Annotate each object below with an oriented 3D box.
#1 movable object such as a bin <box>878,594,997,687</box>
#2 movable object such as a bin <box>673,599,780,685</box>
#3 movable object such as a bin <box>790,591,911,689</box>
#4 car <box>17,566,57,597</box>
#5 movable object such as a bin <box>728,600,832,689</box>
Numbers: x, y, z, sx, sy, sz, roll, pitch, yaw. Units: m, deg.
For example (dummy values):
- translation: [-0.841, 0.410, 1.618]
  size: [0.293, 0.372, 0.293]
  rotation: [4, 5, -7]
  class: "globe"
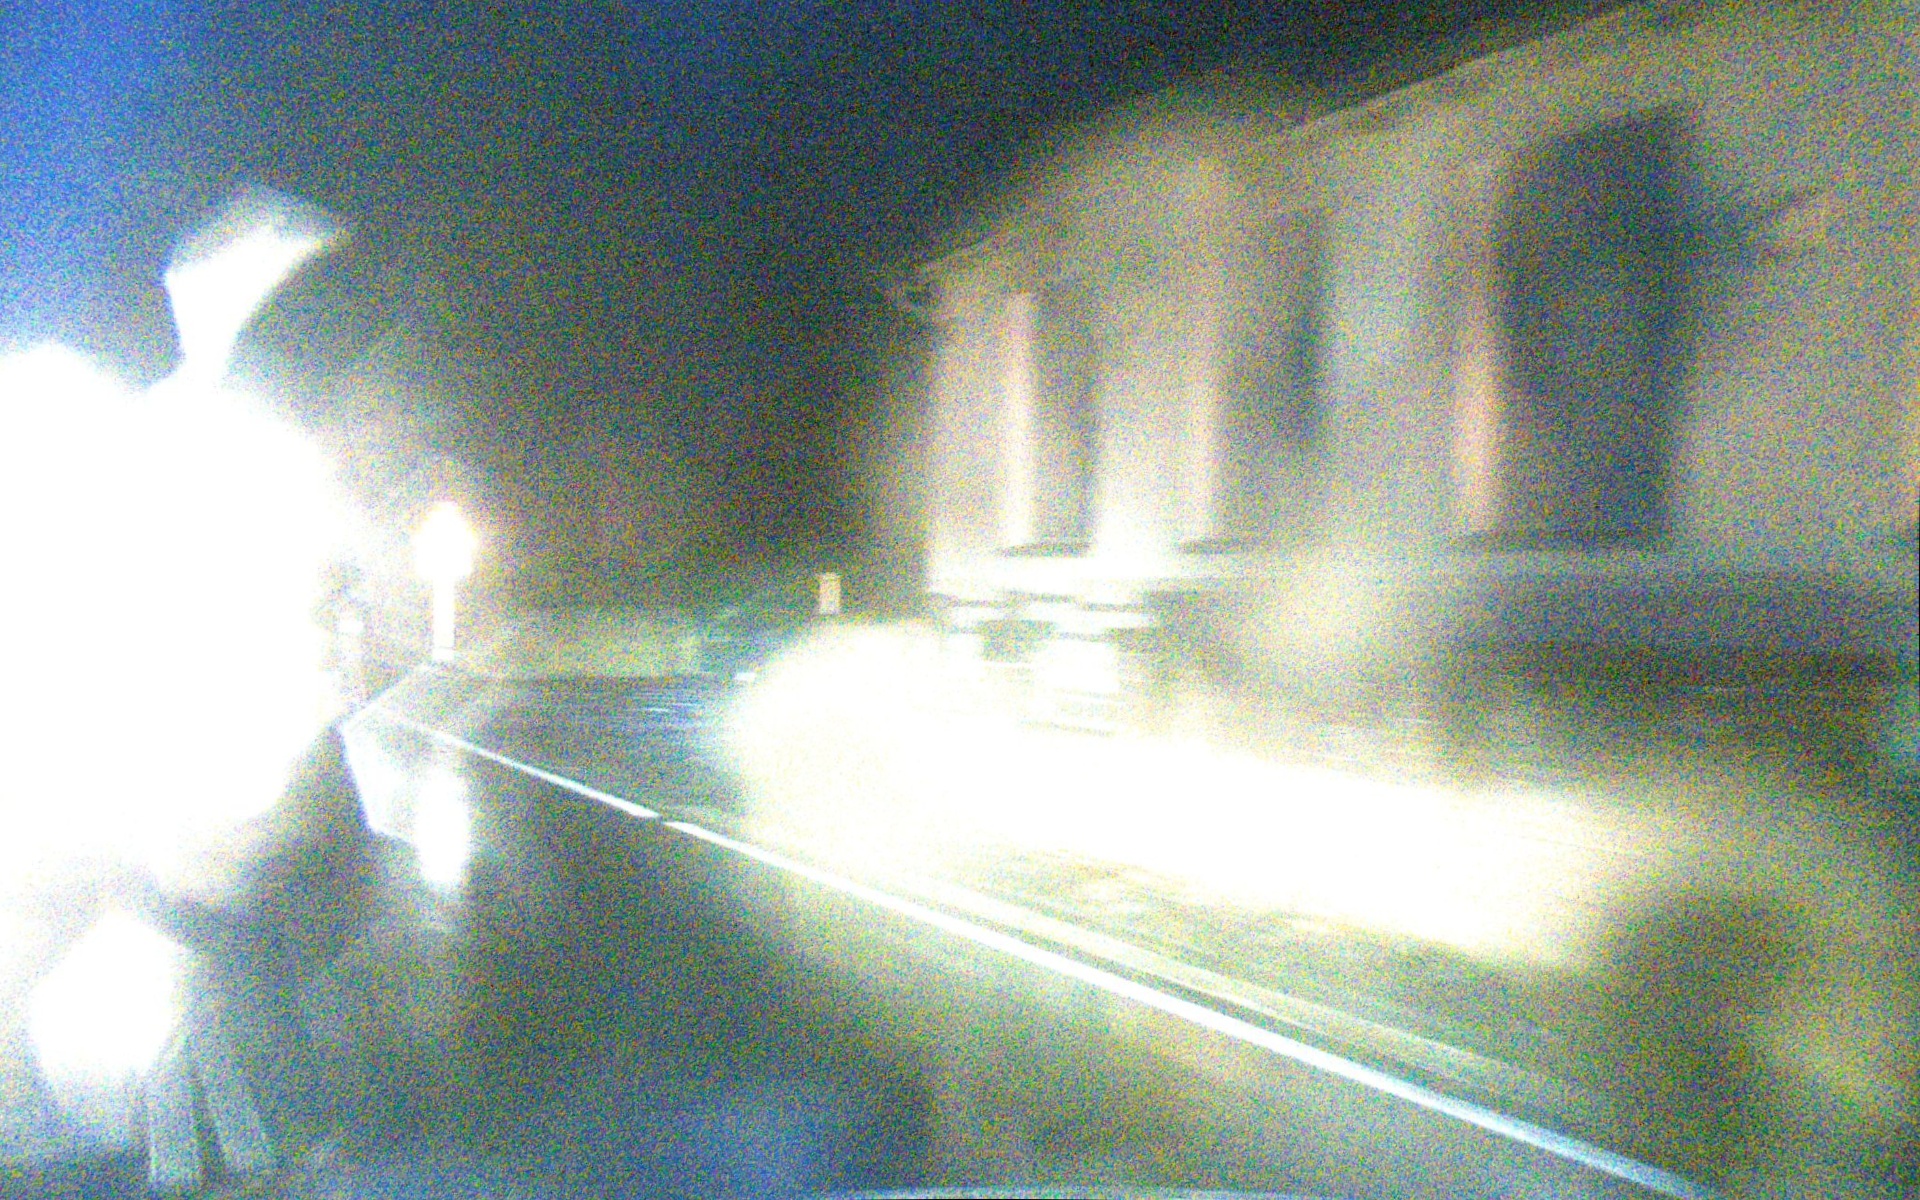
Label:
- translation: [-0.337, 0.608, 24.848]
  size: [1.290, 1.321, 1.248]
  rotation: [-2, 0, 32]
  class: "movable object such as a bin"
- translation: [-3.822, 0.675, 27.173]
  size: [1.292, 1.332, 1.176]
  rotation: [0, 2, 24]
  class: "movable object such as a bin"
- translation: [-1.693, 0.617, 25.600]
  size: [1.362, 1.438, 1.248]
  rotation: [-2, 0, 32]
  class: "movable object such as a bin"
- translation: [-54.108, -1.121, 97.004]
  size: [1.867, 1.700, 3.963]
  rotation: [-2, 3, -28]
  class: "car"
- translation: [-2.853, 0.686, 26.231]
  size: [1.204, 1.348, 1.152]
  rotation: [0, 1, 27]
  class: "movable object such as a bin"
